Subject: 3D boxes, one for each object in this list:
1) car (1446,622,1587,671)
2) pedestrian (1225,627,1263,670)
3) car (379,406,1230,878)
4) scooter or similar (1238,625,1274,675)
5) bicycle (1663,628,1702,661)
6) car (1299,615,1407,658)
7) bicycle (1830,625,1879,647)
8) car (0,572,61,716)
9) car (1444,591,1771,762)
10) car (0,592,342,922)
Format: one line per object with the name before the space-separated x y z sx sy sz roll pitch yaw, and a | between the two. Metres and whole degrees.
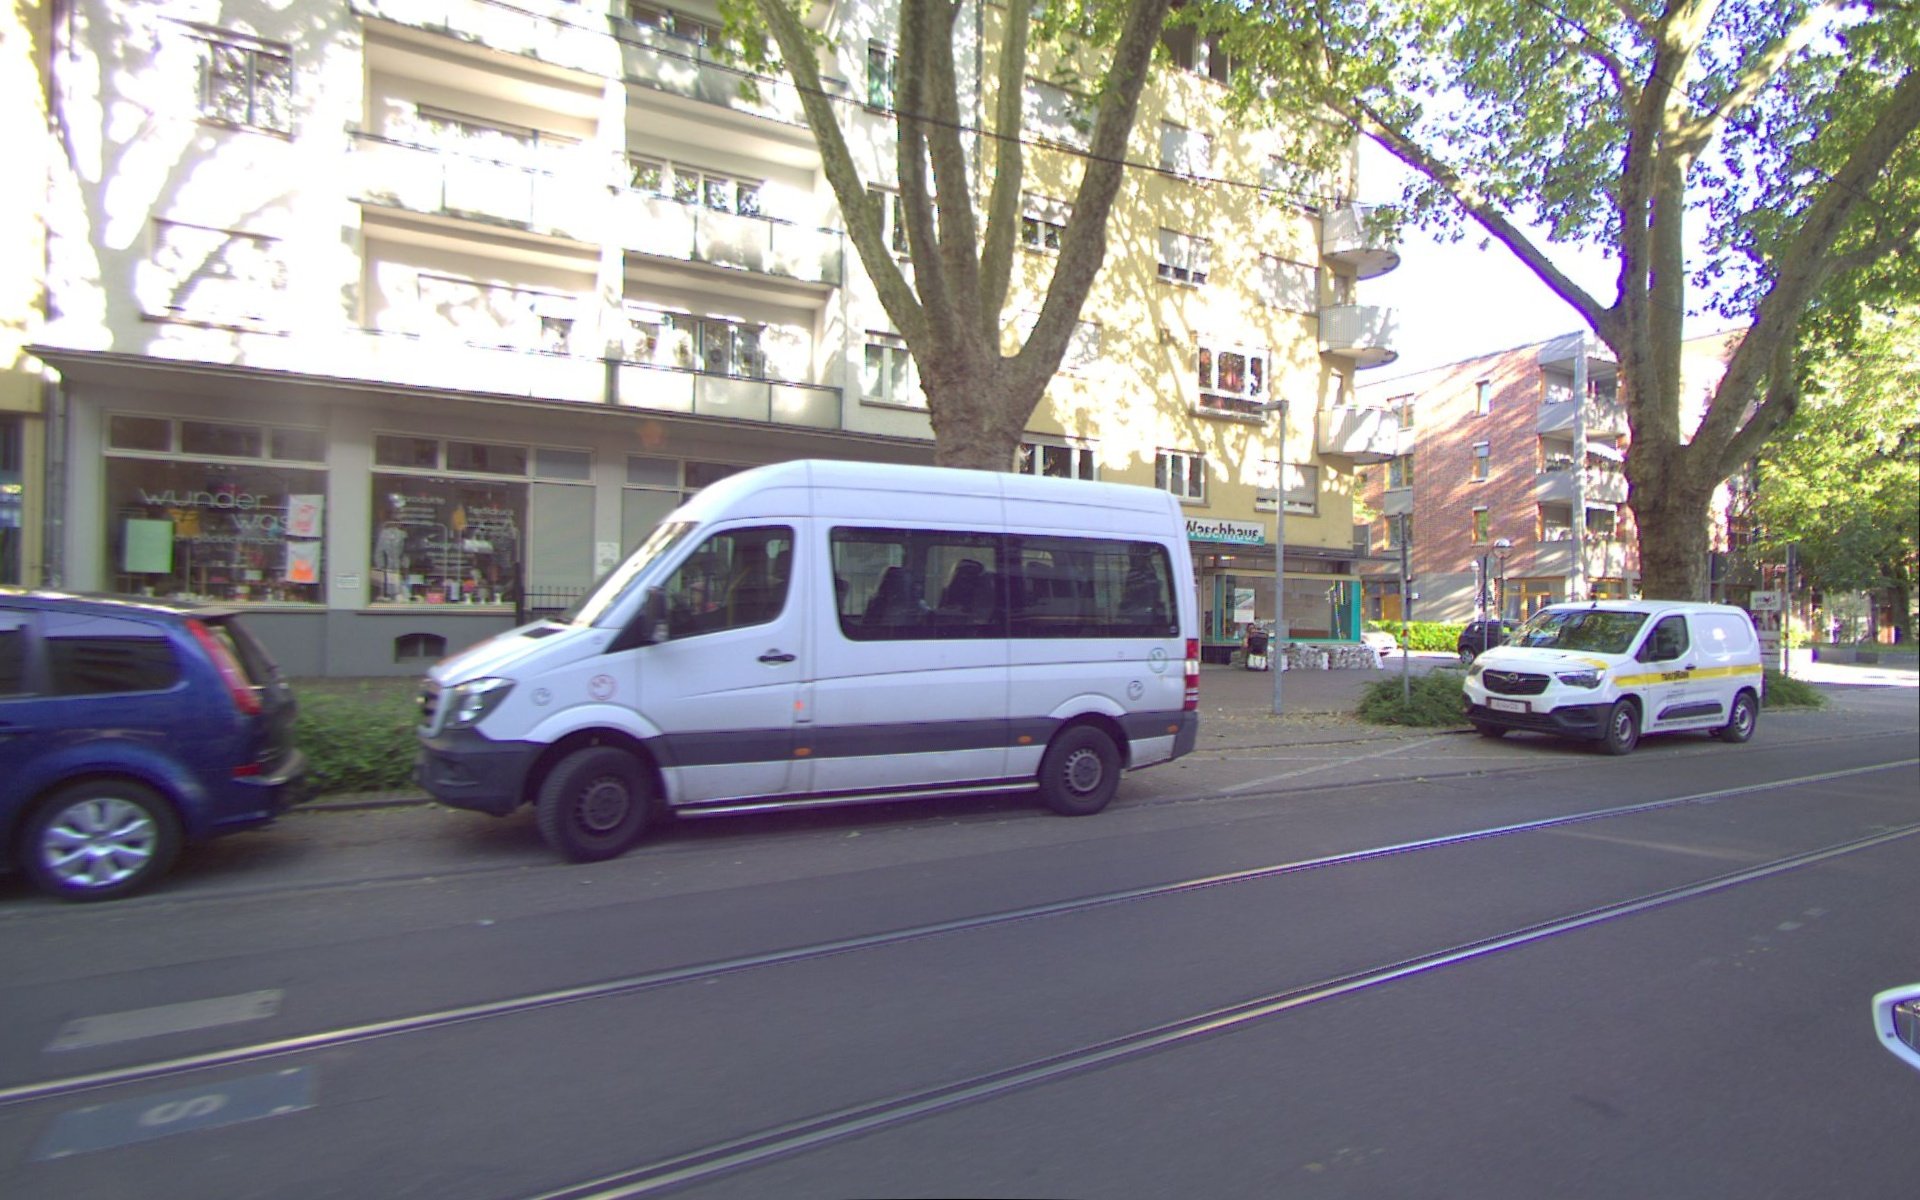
car | 19.830 1.630 35.922 1.975 1.528 3.970 2 0 -28
pedestrian | 7.228 1.224 25.585 0.702 1.061 0.576 2 0 -29
car | -0.952 0.307 7.813 5.944 2.612 2.101 2 0 -26
scooter or similar | 7.235 1.218 24.551 0.662 1.182 0.644 2 0 -1
bicycle | 25.879 1.593 35.990 1.518 1.099 0.539 -1 2 -29
car | 16.651 1.545 42.768 1.936 1.684 3.971 2 -1 -28
bicycle | 48.579 1.955 54.567 0.760 1.087 1.921 2 0 -43
car | -14.348 0.460 12.098 4.835 1.756 1.986 2 0 -28
car | 8.382 0.897 12.929 4.267 1.875 1.755 2 0 -30
car | -5.851 0.743 5.326 4.232 1.582 1.908 2 0 -29
